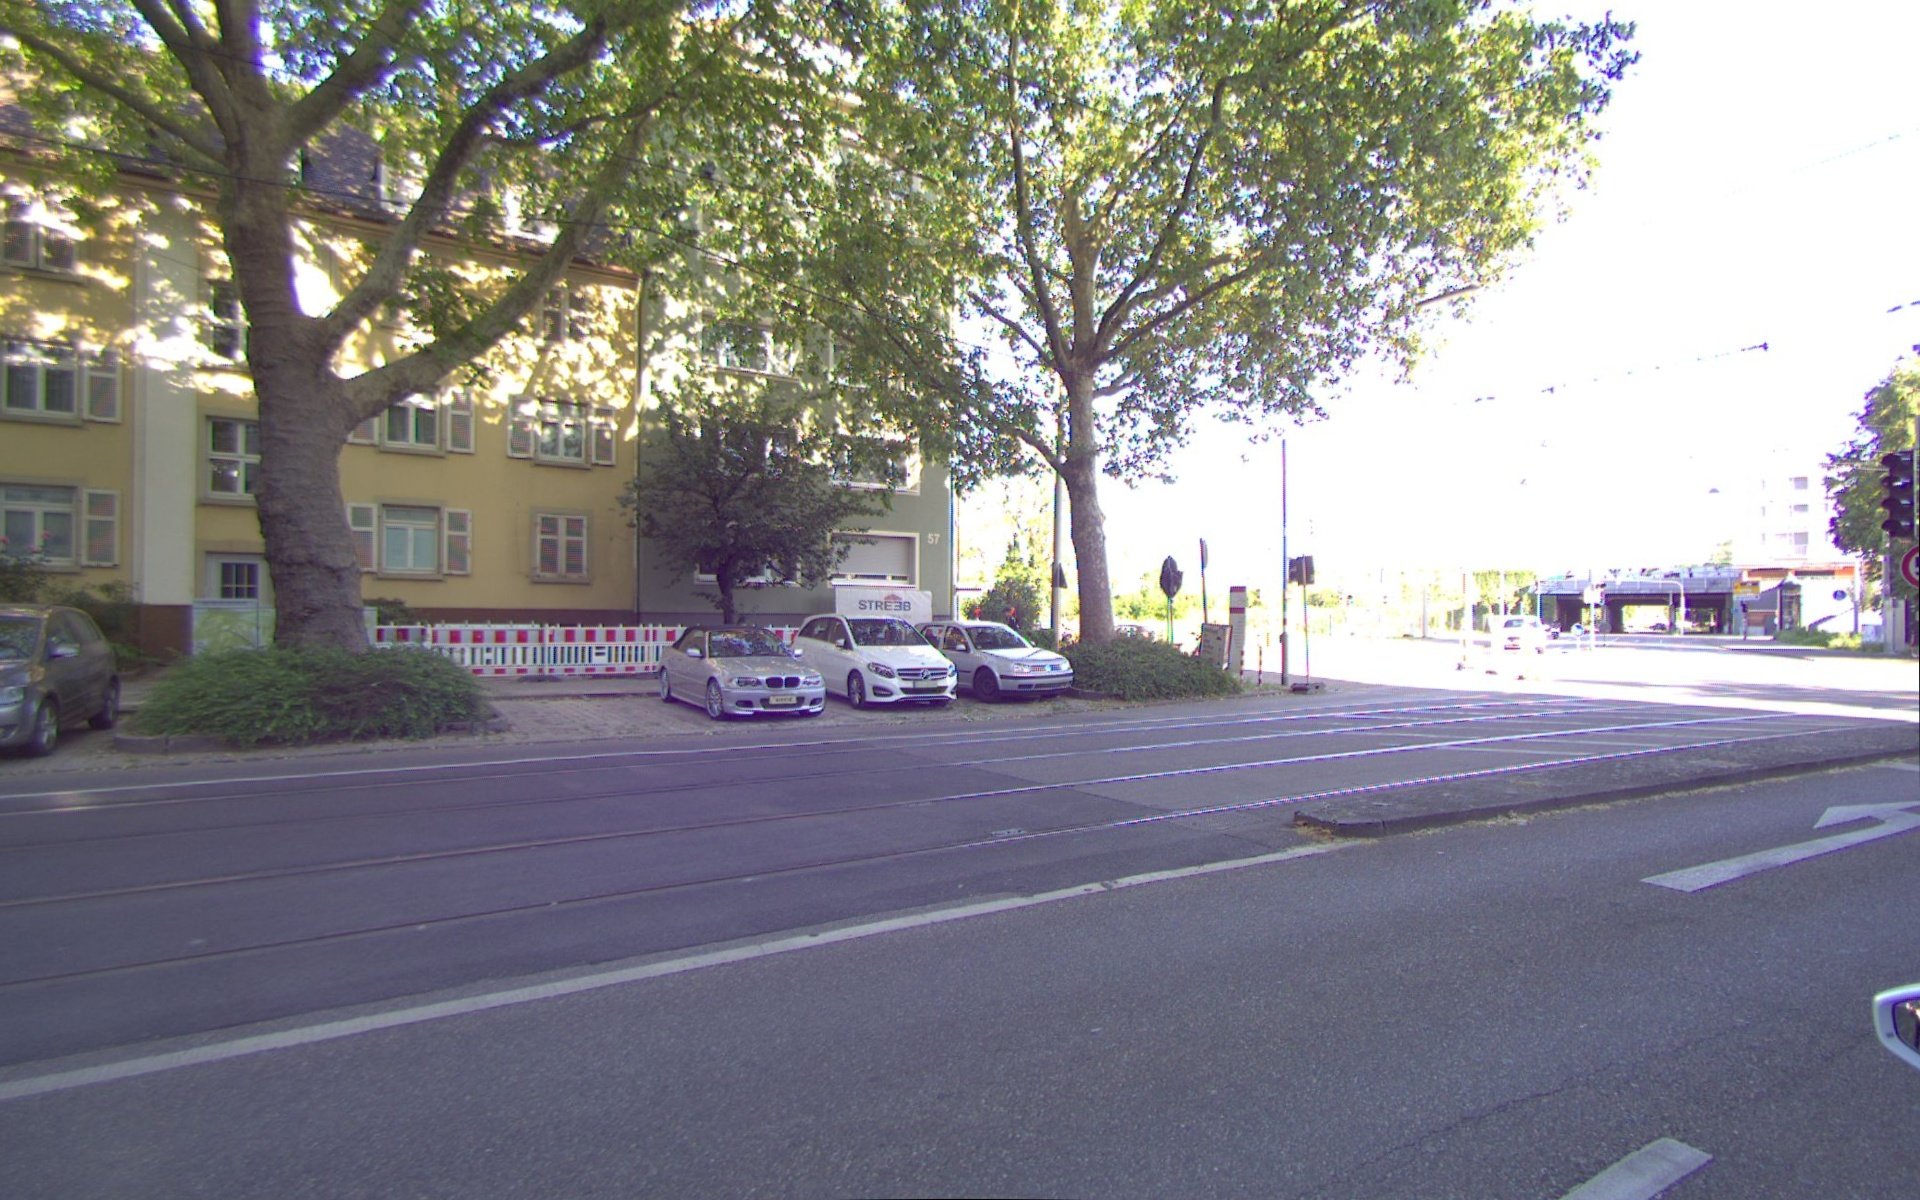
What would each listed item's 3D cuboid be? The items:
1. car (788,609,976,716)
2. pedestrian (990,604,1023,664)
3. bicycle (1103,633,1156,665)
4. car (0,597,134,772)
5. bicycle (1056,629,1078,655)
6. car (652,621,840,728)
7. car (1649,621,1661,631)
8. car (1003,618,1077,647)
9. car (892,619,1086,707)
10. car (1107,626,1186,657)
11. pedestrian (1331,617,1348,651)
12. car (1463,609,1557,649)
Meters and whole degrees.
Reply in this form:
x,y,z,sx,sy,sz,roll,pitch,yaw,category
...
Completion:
x,y,z,sx,sy,sz,roll,pitch,yaw,category
-1.527,1.026,18.117,1.823,1.633,4.051,2,0,-30,car
1.273,0.917,27.271,0.592,1.589,0.741,0,-1,33,pedestrian
5.117,1.465,30.344,0.355,0.900,1.759,1,-1,-41,bicycle
-10.855,0.812,11.197,1.823,1.641,4.051,2,0,-30,car
3.350,1.311,31.342,0.351,0.769,1.781,0,-1,18,bicycle
-3.576,1.105,16.209,1.823,1.387,4.051,2,0,-30,car
149.573,5.641,216.256,1.966,2.040,3.989,1,0,33,car
4.782,1.920,60.035,3.933,1.439,1.888,0,5,34,car
0.463,1.147,19.516,1.688,1.436,3.959,2,0,-36,car
10.403,2.282,56.083,3.933,1.439,1.888,0,5,34,car
18.626,1.658,49.297,0.591,1.617,0.683,2,0,34,pedestrian
24.344,1.271,44.687,1.960,1.653,4.633,0,-1,5,car
